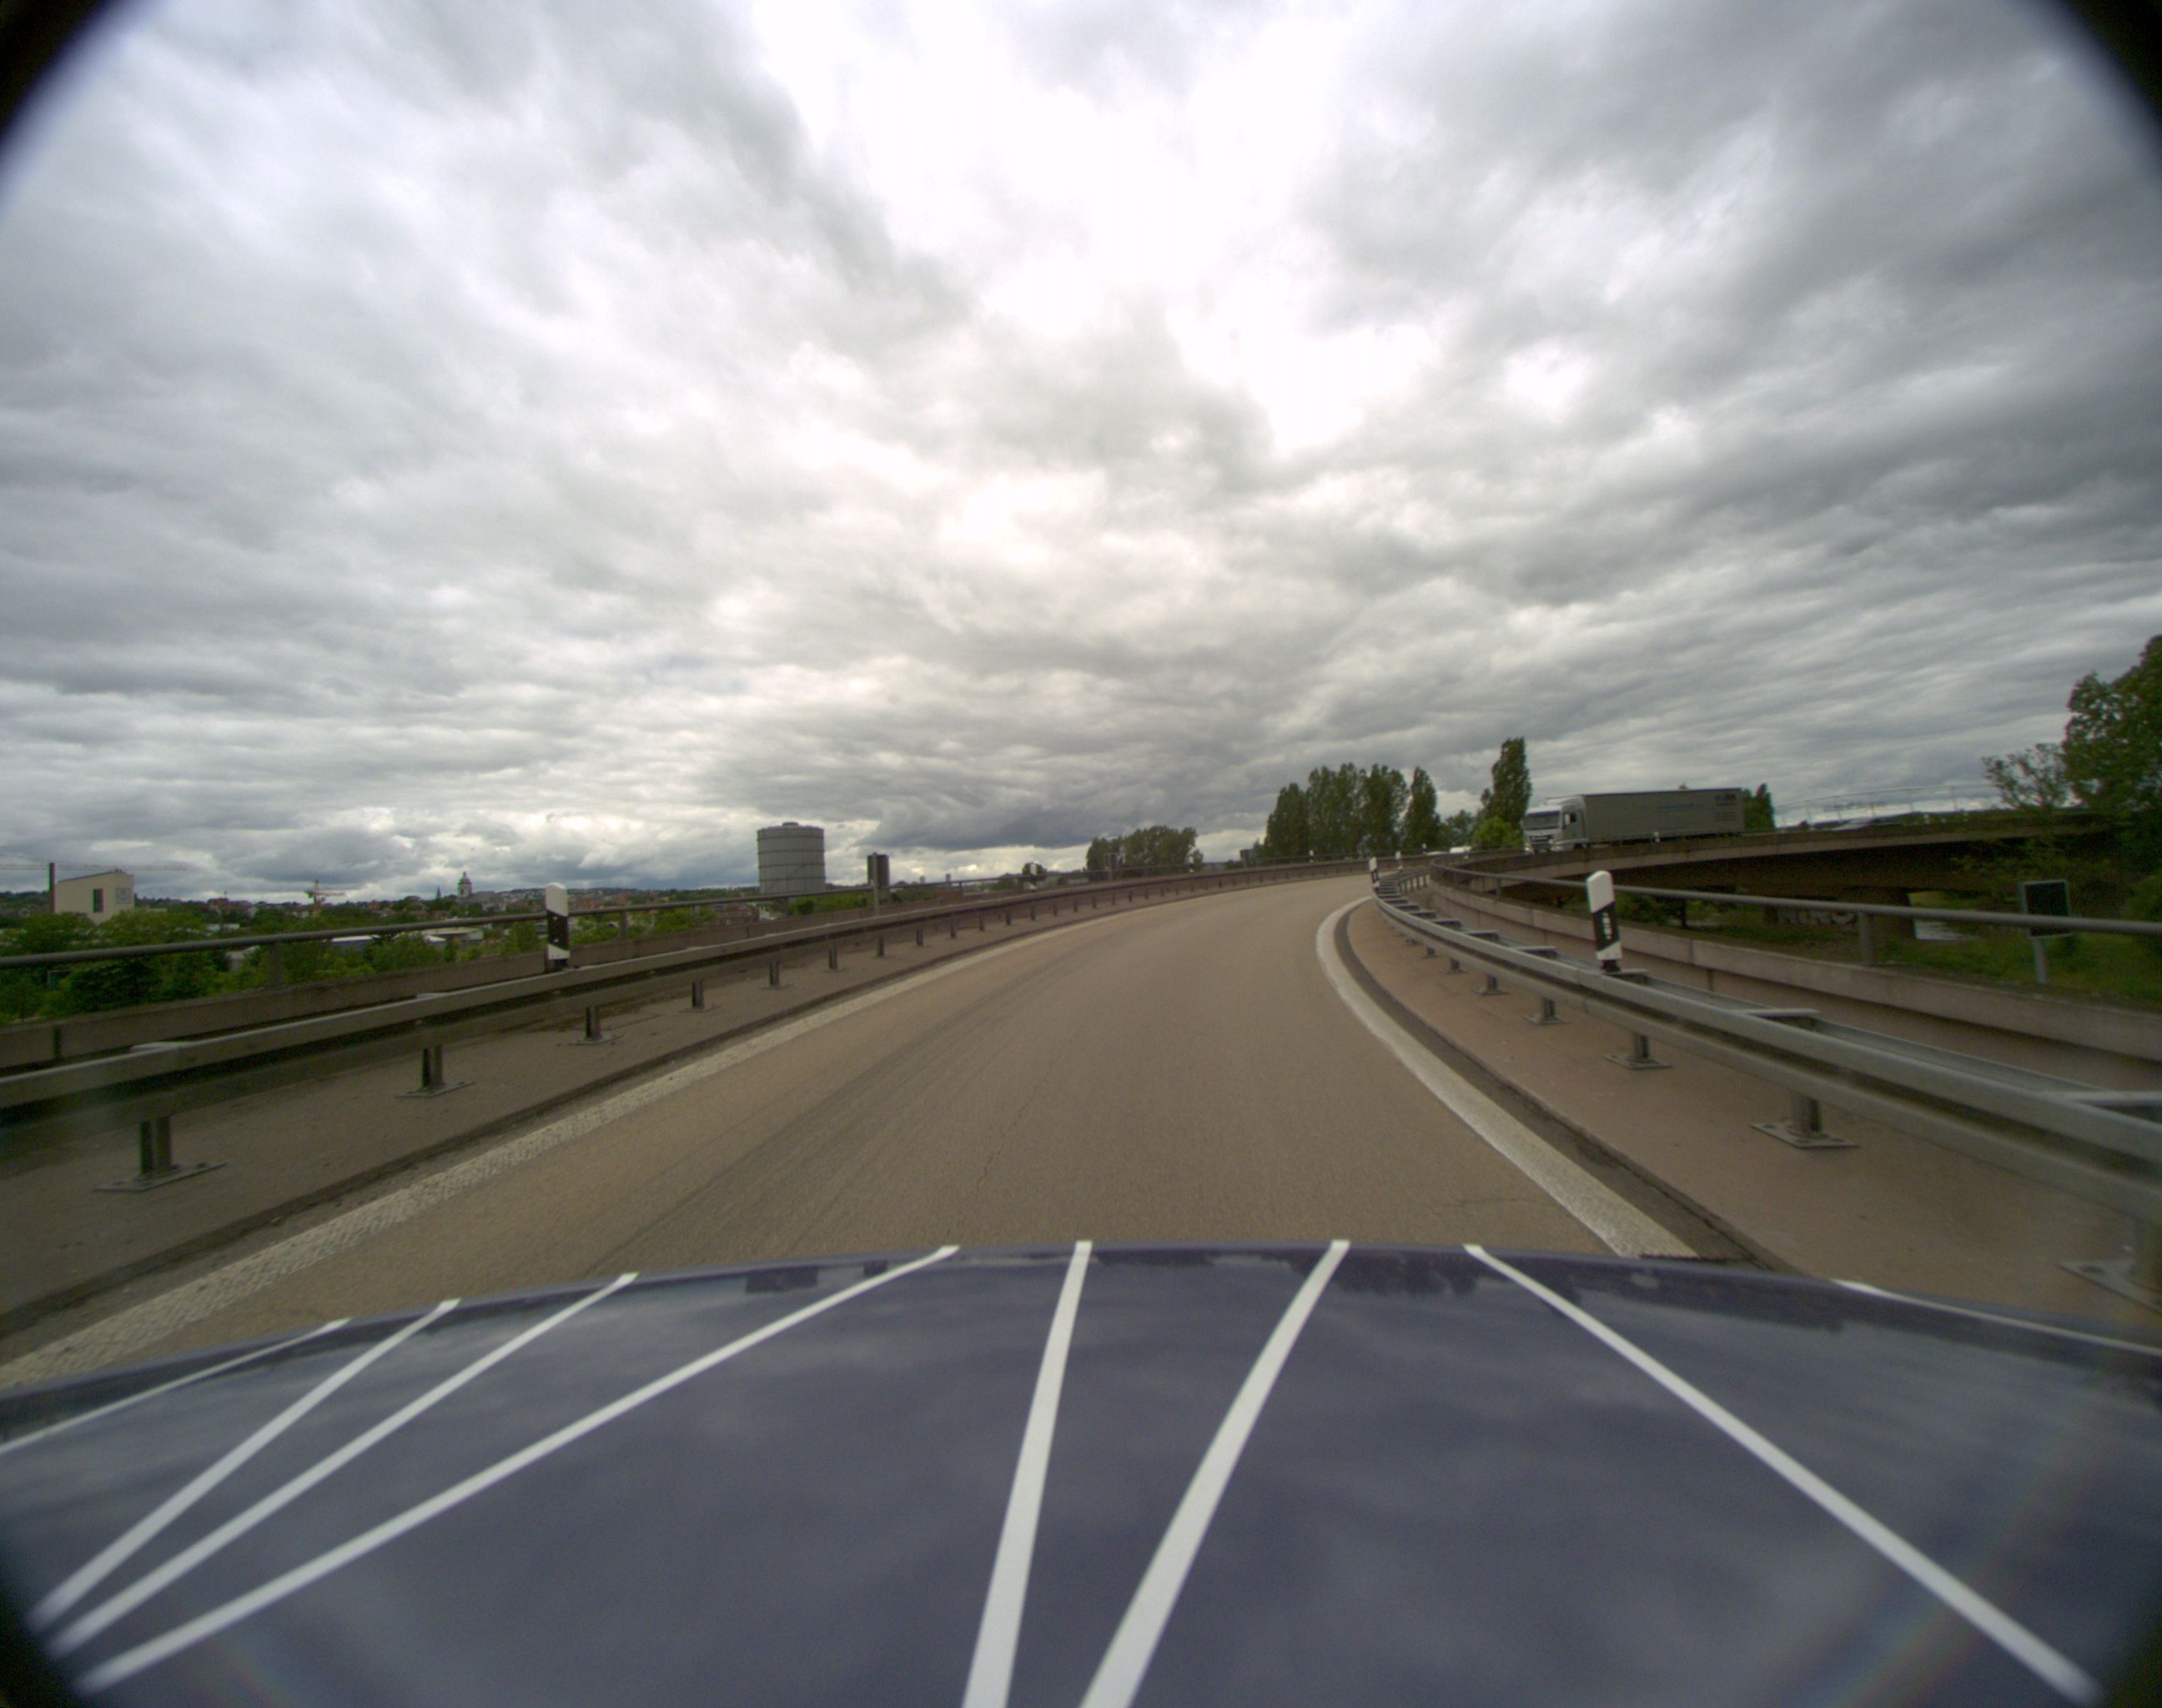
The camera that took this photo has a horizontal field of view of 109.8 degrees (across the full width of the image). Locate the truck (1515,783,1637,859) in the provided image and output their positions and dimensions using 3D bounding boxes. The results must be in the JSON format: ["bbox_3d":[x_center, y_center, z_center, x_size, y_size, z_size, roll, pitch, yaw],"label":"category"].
[{"bbox_3d":[30.277,-1.999,46.514,6.205,4.202,2.733,-4,-1,-18],"label":"truck"}]

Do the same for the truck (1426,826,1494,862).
[{"bbox_3d":[43.557,-1.160,87.472,2.742,3.623,6.186,-3,-1,-44],"label":"truck"}]

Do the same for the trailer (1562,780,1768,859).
[{"bbox_3d":[37.599,-2.268,48.835,13.453,4.211,2.746,-4,-1,-15],"label":"trailer"}]

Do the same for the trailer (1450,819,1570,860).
[{"bbox_3d":[47.147,-1.563,83.823,10.978,3.627,2.754,-5,-2,45],"label":"trailer"}]
